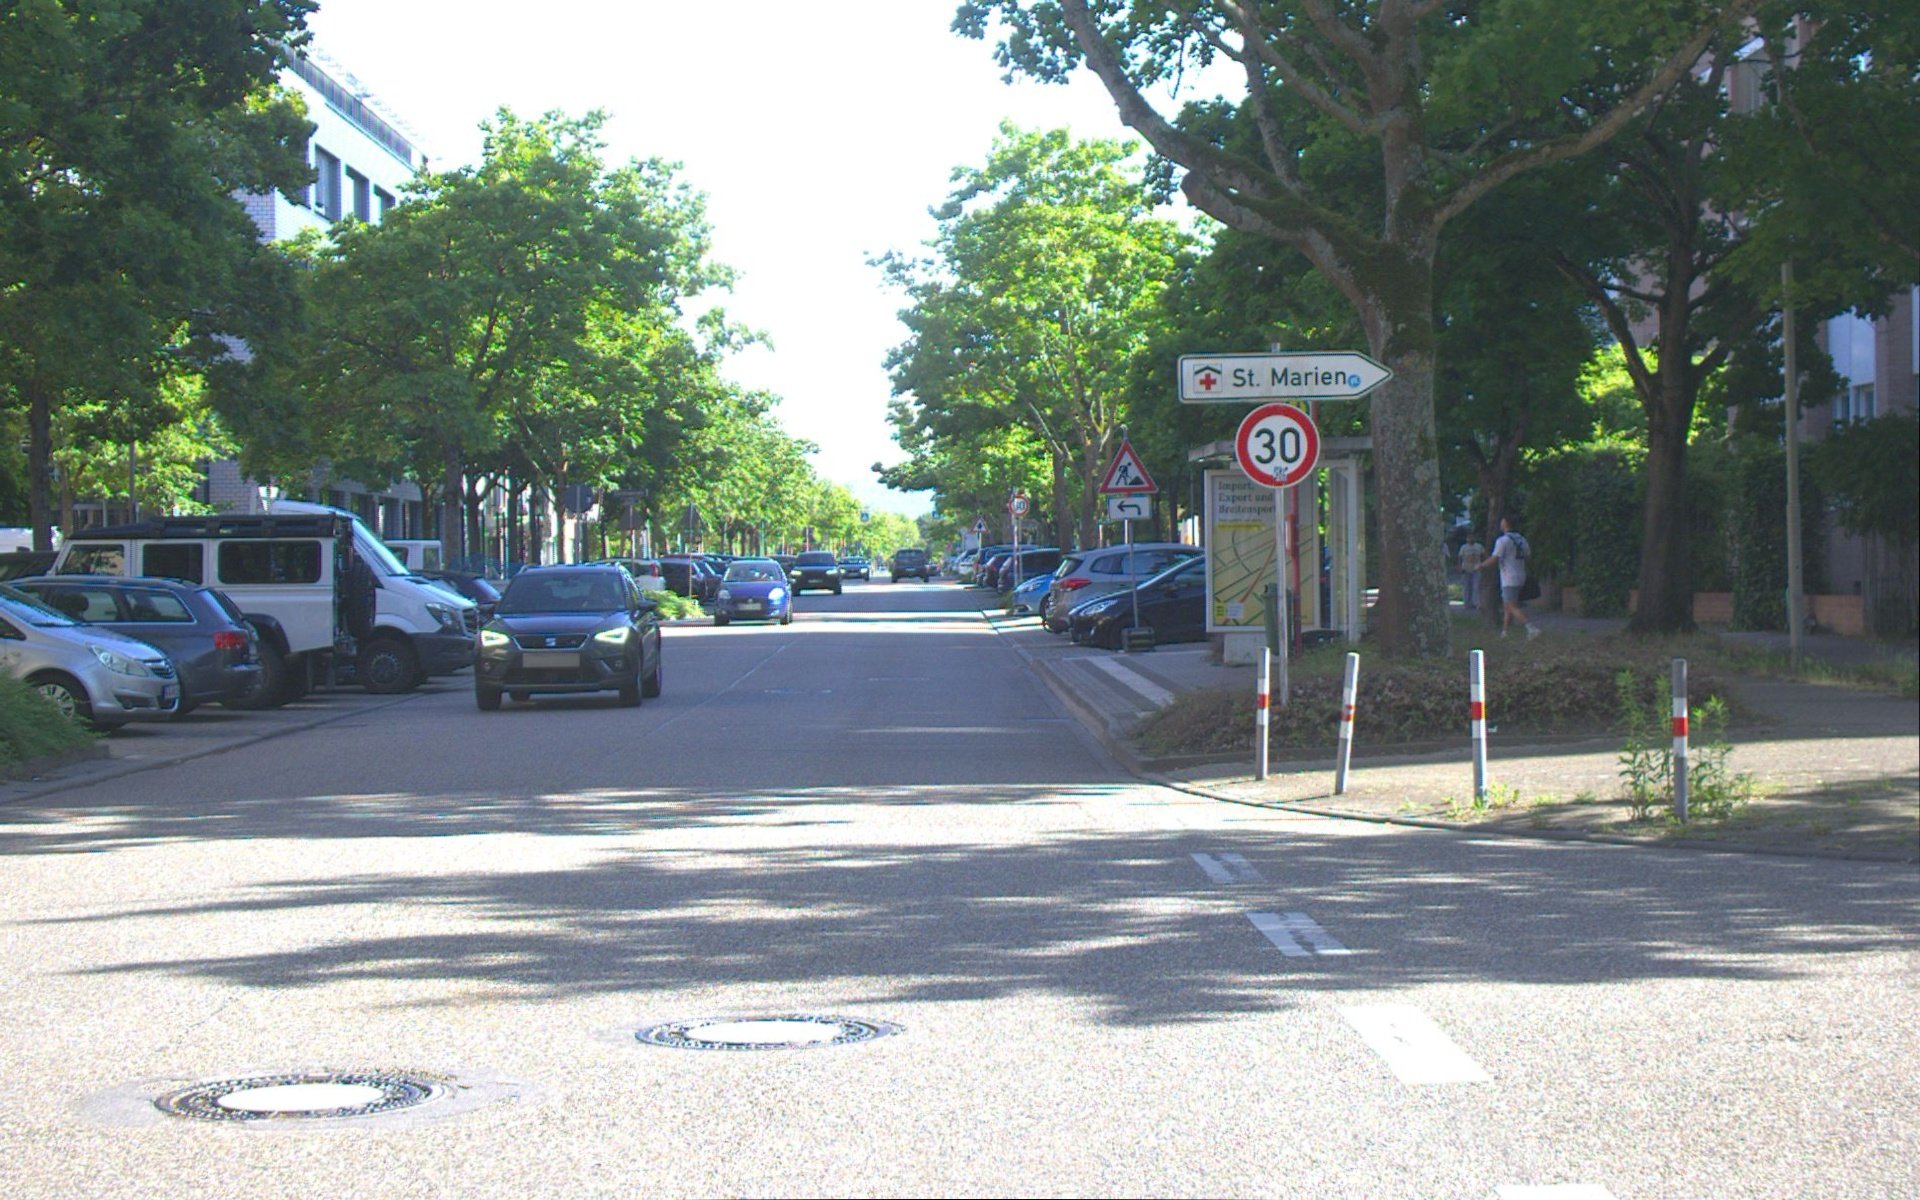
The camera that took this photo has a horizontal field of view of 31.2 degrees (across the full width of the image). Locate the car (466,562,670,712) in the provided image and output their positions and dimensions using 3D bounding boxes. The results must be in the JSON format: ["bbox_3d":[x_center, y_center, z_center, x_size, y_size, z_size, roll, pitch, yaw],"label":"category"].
[{"bbox_3d":[-4.197,0.359,37.344,1.779,1.506,4.000,-1,1,0],"label":"car"}]

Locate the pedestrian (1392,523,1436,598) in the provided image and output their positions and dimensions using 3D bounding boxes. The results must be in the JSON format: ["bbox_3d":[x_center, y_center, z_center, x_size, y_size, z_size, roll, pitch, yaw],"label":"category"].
[{"bbox_3d":[8.939,-0.779,67.686,0.700,1.453,0.715,-2,1,-3],"label":"pedestrian"}]

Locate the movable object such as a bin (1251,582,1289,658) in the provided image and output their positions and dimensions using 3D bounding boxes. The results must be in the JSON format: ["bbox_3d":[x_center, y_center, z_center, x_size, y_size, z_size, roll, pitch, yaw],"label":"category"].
[{"bbox_3d":[3.150,0.202,34.946,0.298,0.751,0.467,-3,0,0],"label":"movable object such as a bin"}]

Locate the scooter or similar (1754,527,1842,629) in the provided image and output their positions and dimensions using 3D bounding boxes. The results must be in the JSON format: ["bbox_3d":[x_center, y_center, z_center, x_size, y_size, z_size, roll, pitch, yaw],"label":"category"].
[{"bbox_3d":[11.104,-0.288,45.603,0.549,1.321,1.806,1,0,-6],"label":"scooter or similar"}]

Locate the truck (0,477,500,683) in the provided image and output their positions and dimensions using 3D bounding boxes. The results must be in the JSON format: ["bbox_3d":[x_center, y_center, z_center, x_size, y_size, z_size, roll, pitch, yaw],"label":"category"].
[{"bbox_3d":[-8.977,-0.253,42.554,6.232,2.413,2.187,-1,1,0],"label":"truck"}]

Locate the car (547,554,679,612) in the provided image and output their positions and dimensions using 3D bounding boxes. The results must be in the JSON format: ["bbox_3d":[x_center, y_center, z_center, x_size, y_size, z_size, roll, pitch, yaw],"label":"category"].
[{"bbox_3d":[-9.713,-0.470,96.445,3.580,1.544,1.637,-1,-2,-3],"label":"car"}]

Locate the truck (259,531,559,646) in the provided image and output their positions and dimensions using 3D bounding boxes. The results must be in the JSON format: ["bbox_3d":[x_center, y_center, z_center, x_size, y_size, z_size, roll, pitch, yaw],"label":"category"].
[{"bbox_3d":[-9.858,-0.216,61.775,4.985,1.952,2.138,-1,1,2],"label":"truck"}]

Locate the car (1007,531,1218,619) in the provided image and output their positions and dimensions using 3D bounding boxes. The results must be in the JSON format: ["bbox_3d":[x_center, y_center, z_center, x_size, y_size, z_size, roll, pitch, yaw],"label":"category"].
[{"bbox_3d":[3.319,-0.559,75.375,4.405,1.612,1.912,-4,1,-1],"label":"car"}]

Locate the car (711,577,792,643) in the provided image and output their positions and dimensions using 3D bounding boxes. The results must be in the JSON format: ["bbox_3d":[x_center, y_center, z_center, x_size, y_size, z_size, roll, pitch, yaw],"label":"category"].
[{"bbox_3d":[-4.729,0.212,78.350,1.643,1.415,4.000,-1,1,-1],"label":"car"}]

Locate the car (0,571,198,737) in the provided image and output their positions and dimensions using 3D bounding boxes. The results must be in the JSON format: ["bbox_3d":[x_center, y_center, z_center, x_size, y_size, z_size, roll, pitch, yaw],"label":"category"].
[{"bbox_3d":[-9.143,0.468,31.633,3.835,1.456,1.732,1,1,3],"label":"car"}]

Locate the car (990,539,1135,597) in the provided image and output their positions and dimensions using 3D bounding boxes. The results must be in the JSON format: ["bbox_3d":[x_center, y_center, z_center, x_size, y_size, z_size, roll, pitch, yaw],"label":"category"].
[{"bbox_3d":[3.118,-0.994,105.479,4.267,1.628,1.858,-2,1,-3],"label":"car"}]

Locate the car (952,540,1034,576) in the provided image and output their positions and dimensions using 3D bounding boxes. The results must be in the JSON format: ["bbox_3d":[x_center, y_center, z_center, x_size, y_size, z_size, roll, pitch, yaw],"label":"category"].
[{"bbox_3d":[1.686,-2.142,177.018,3.986,1.786,2.000,-1,1,-5],"label":"car"}]

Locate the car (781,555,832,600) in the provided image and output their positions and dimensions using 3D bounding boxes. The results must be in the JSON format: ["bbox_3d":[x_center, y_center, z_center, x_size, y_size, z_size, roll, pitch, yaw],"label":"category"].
[{"bbox_3d":[-5.877,-0.878,131.418,1.891,1.678,4.353,-1,1,-3],"label":"car"}]

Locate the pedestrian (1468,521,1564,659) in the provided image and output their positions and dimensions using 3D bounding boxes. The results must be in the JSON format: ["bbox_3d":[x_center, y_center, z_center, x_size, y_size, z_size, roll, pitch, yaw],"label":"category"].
[{"bbox_3d":[7.206,-0.134,44.598,0.917,1.705,0.698,-4,1,-14],"label":"pedestrian"}]

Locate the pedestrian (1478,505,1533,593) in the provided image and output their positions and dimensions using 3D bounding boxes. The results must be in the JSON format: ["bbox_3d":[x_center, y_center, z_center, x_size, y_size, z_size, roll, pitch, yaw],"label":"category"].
[{"bbox_3d":[10.947,-1.021,68.968,0.695,1.705,0.921,-4,1,-11],"label":"pedestrian"}]

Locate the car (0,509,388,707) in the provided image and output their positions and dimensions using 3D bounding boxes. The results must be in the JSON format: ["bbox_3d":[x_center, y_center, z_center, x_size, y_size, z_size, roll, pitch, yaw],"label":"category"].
[{"bbox_3d":[-8.594,0.070,37.268,4.481,2.045,2.000,1,0,-2],"label":"car"}]

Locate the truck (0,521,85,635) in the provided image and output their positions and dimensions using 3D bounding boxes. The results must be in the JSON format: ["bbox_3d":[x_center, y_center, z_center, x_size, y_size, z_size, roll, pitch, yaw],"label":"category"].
[{"bbox_3d":[-24.653,-0.491,83.514,6.103,2.695,2.578,-1,1,-2],"label":"truck"}]

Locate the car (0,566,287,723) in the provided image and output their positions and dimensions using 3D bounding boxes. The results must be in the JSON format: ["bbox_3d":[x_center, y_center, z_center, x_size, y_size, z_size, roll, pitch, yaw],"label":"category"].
[{"bbox_3d":[-8.804,0.423,34.363,3.778,1.487,1.833,1,1,1],"label":"car"}]

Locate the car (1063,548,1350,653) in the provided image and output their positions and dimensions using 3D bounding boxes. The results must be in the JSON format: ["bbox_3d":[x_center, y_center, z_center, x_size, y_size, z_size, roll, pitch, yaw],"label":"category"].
[{"bbox_3d":[3.521,-0.004,49.613,3.934,1.434,1.775,-1,1,-2],"label":"car"}]

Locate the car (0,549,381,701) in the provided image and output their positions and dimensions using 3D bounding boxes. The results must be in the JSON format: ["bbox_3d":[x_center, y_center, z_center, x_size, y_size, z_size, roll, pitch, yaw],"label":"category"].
[{"bbox_3d":[-8.858,0.273,39.530,4.107,1.656,2.000,1,0,-2],"label":"car"}]

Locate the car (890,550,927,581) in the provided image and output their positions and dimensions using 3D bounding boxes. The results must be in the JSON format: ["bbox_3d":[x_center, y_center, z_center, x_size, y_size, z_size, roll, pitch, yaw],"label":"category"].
[{"bbox_3d":[-2.795,-1.858,185.001,1.933,1.592,4.366,-1,1,-1],"label":"car"}]

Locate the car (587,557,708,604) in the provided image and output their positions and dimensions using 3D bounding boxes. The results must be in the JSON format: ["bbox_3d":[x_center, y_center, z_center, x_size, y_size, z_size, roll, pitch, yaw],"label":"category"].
[{"bbox_3d":[-9.996,-0.631,110.014,3.732,1.459,1.677,-1,1,-1],"label":"car"}]

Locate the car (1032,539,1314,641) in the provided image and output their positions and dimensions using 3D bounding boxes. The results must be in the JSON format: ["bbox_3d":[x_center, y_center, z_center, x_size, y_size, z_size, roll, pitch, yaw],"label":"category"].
[{"bbox_3d":[3.494,-0.174,56.853,4.351,1.592,1.940,-1,1,-7],"label":"car"}]
